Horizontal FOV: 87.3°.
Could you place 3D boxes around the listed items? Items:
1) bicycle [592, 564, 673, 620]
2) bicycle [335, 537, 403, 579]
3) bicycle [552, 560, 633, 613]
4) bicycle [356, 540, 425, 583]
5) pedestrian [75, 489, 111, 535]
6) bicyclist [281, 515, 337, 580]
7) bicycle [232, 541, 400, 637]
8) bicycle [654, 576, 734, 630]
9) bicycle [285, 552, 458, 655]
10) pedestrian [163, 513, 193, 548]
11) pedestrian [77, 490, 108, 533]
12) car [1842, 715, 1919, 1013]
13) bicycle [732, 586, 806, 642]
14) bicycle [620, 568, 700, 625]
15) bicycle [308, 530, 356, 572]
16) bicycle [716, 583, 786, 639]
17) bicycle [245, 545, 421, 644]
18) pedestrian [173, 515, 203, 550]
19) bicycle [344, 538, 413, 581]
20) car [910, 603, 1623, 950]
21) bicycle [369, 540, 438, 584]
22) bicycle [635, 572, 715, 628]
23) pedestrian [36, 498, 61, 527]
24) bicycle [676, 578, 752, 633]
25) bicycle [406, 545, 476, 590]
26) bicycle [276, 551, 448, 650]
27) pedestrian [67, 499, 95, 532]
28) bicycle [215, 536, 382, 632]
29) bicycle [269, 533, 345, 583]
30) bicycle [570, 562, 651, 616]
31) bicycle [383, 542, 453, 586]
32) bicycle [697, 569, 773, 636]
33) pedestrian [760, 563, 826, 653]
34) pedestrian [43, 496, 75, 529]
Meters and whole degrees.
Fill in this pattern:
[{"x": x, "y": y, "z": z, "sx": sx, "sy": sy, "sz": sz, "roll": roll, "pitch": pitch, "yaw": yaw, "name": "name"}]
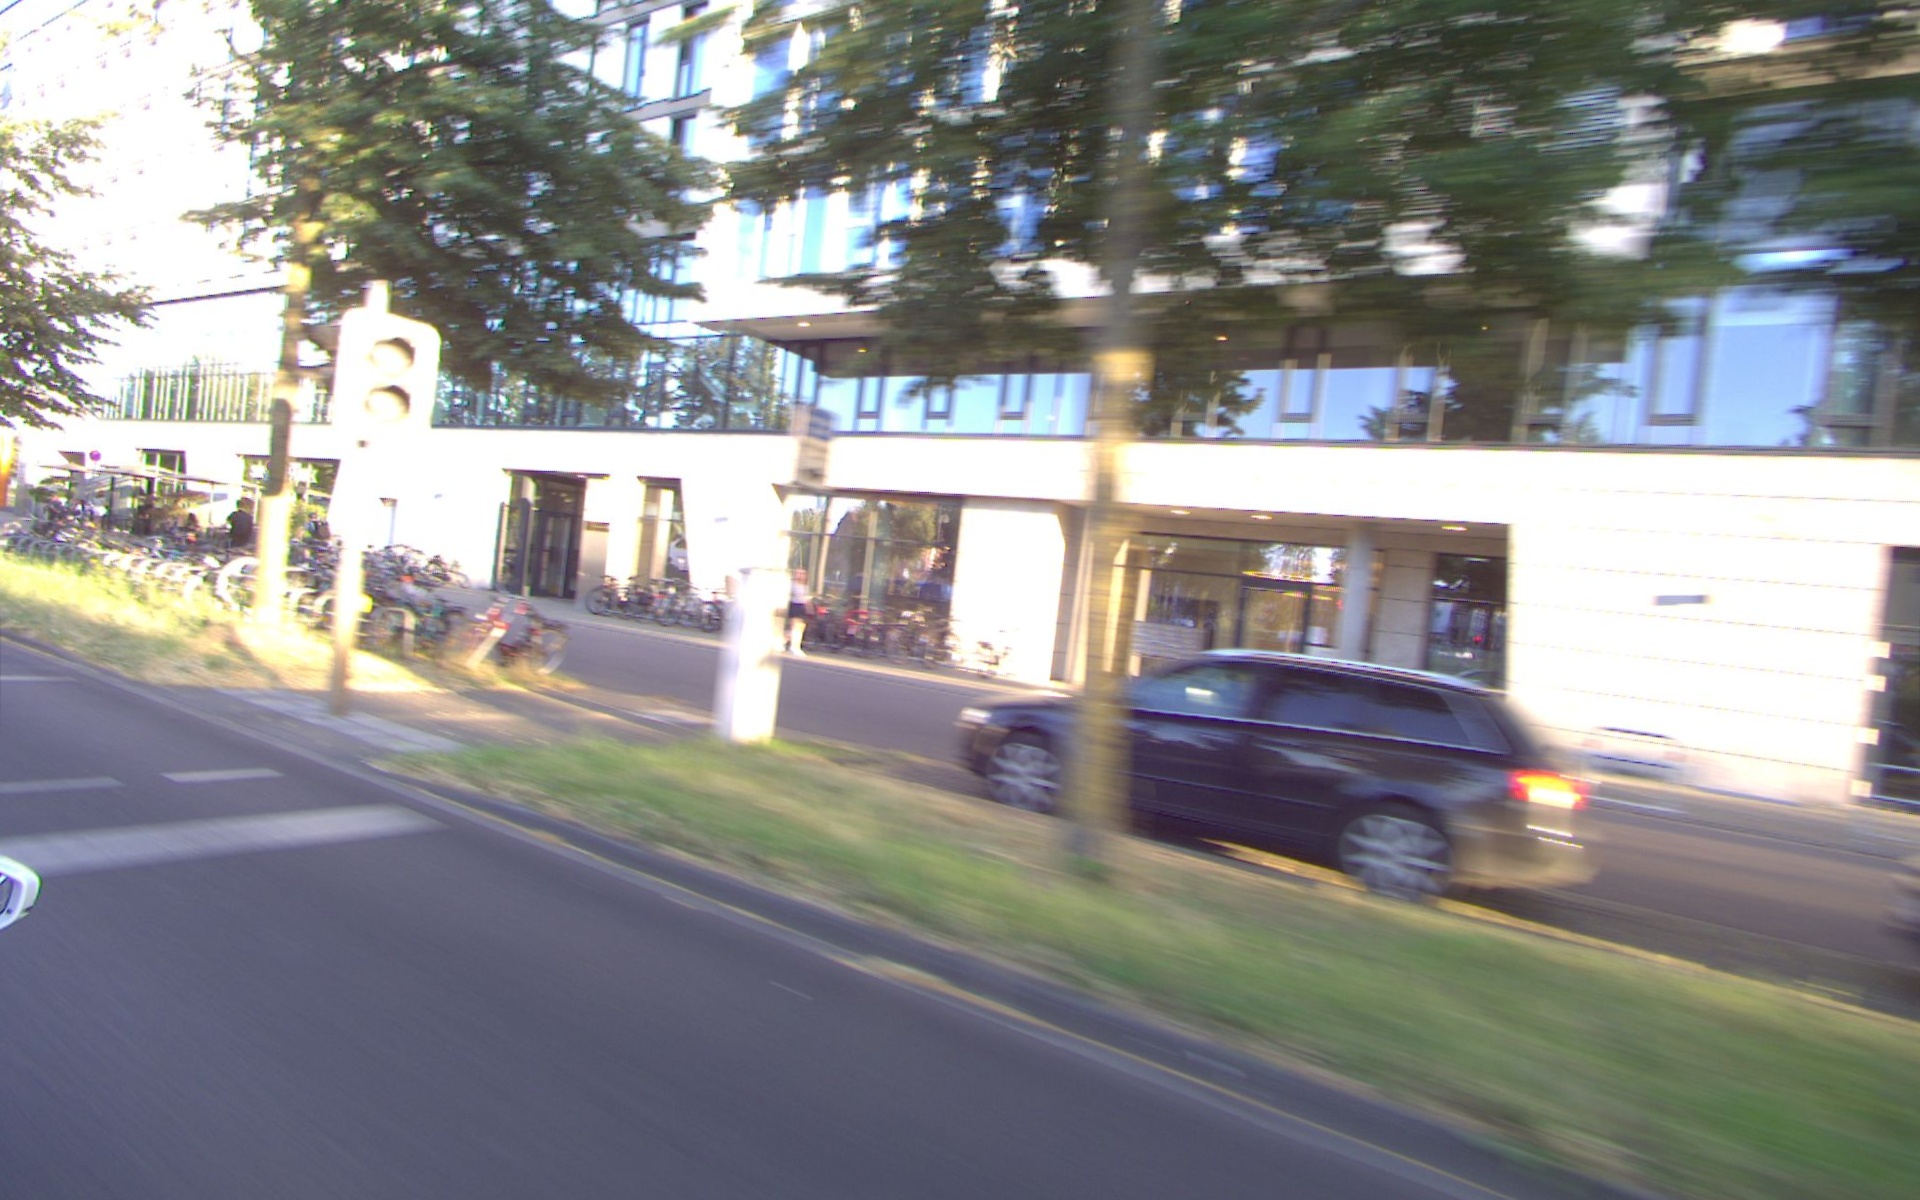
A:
[{"x": -8.011, "y": -0.169, "z": 24.668, "sx": 0.494, "sy": 1.182, "sz": 1.986, "roll": 7, "pitch": 0, "yaw": 29, "name": "bicycle"}, {"x": -18.581, "y": -1.310, "z": 31.679, "sx": 0.500, "sy": 1.118, "sz": 1.788, "roll": 7, "pitch": 0, "yaw": 27, "name": "bicycle"}, {"x": -9.193, "y": -0.318, "z": 25.252, "sx": 0.494, "sy": 1.156, "sz": 1.986, "roll": 7, "pitch": 0, "yaw": 29, "name": "bicycle"}, {"x": -17.478, "y": -1.163, "z": 30.928, "sx": 0.500, "sy": 1.118, "sz": 1.788, "roll": 7, "pitch": 0, "yaw": 27, "name": "bicycle"}, {"x": -35.621, "y": -3.608, "z": 41.329, "sx": 0.676, "sy": 1.759, "sz": 0.705, "roll": 7, "pitch": 1, "yaw": 2, "name": "pedestrian"}, {"x": -17.278, "y": -1.383, "z": 26.702, "sx": 0.975, "sy": 1.586, "sz": 0.773, "roll": 7, "pitch": 1, "yaw": 29, "name": "bicyclist"}, {"x": -8.920, "y": -0.117, "z": 14.036, "sx": 0.401, "sy": 1.065, "sz": 1.950, "roll": 7, "pitch": -3, "yaw": 24, "name": "bicycle"}, {"x": -6.226, "y": 0.088, "z": 23.678, "sx": 0.494, "sy": 1.113, "sz": 1.986, "roll": 7, "pitch": 0, "yaw": 29, "name": "bicycle"}, {"x": -7.491, "y": 0.090, "z": 12.932, "sx": 0.535, "sy": 1.065, "sz": 1.952, "roll": 8, "pitch": -3, "yaw": 17, "name": "bicycle"}, {"x": -29.502, "y": -2.618, "z": 37.954, "sx": 0.793, "sy": 1.210, "sz": 0.572, "roll": 7, "pitch": 1, "yaw": 32, "name": "pedestrian"}, {"x": -38.546, "y": -3.925, "z": 44.715, "sx": 0.686, "sy": 1.739, "sz": 0.636, "roll": 7, "pitch": 1, "yaw": 12, "name": "pedestrian"}, {"x": 7.236, "y": 1.648, "z": 4.458, "sx": 4.586, "sy": 1.490, "sz": 1.812, "roll": 7, "pitch": 0, "yaw": 30, "name": "car"}, {"x": -4.286, "y": 0.339, "z": 22.680, "sx": 0.494, "sy": 1.127, "sz": 1.834, "roll": 7, "pitch": 0, "yaw": 29, "name": "bicycle"}, {"x": -7.246, "y": -0.070, "z": 24.375, "sx": 0.494, "sy": 1.197, "sz": 1.986, "roll": 7, "pitch": 0, "yaw": 29, "name": "bicycle"}, {"x": -21.416, "y": -1.675, "z": 34.281, "sx": 2.227, "sy": 1.223, "sz": 0.469, "roll": 7, "pitch": 1, "yaw": 36, "name": "bicycle"}, {"x": -4.728, "y": 0.262, "z": 22.866, "sx": 0.366, "sy": 1.138, "sz": 1.834, "roll": 7, "pitch": 0, "yaw": 29, "name": "bicycle"}, {"x": -8.500, "y": -0.041, "z": 13.747, "sx": 0.535, "sy": 1.065, "sz": 1.950, "roll": 7, "pitch": -3, "yaw": 24, "name": "bicycle"}, {"x": -28.739, "y": -2.517, "z": 37.437, "sx": 0.793, "sy": 1.210, "sz": 0.572, "roll": 7, "pitch": 1, "yaw": 34, "name": "pedestrian"}, {"x": -18.126, "y": -1.249, "z": 31.383, "sx": 0.500, "sy": 1.118, "sz": 1.788, "roll": 7, "pitch": 0, "yaw": 27, "name": "bicycle"}, {"x": 2.080, "y": 1.022, "z": 7.467, "sx": 4.570, "sy": 1.429, "sz": 1.870, "roll": 7, "pitch": 0, "yaw": 33, "name": "car"}, {"x": -16.909, "y": -1.134, "z": 30.592, "sx": 0.500, "sy": 1.118, "sz": 1.788, "roll": 7, "pitch": 0, "yaw": 27, "name": "bicycle"}, {"x": -6.781, "y": 0.017, "z": 24.029, "sx": 0.494, "sy": 1.155, "sz": 1.986, "roll": 7, "pitch": 0, "yaw": 29, "name": "bicycle"}, {"x": -41.257, "y": -3.942, "z": 45.521, "sx": 0.847, "sy": 1.201, "sz": 0.572, "roll": 7, "pitch": 1, "yaw": 33, "name": "pedestrian"}, {"x": -5.671, "y": 0.152, "z": 23.299, "sx": 0.494, "sy": 1.135, "sz": 1.834, "roll": 7, "pitch": 0, "yaw": 29, "name": "bicycle"}, {"x": -15.227, "y": -0.931, "z": 29.570, "sx": 0.500, "sy": 1.118, "sz": 1.788, "roll": 7, "pitch": 0, "yaw": 27, "name": "bicycle"}, {"x": -7.940, "y": 0.046, "z": 13.475, "sx": 0.535, "sy": 1.065, "sz": 1.951, "roll": 8, "pitch": -3, "yaw": 21, "name": "bicycle"}, {"x": -38.196, "y": -3.672, "z": 43.715, "sx": 0.726, "sy": 1.299, "sz": 0.580, "roll": 7, "pitch": 1, "yaw": 28, "name": "pedestrian"}, {"x": -9.300, "y": -0.190, "z": 14.245, "sx": 0.401, "sy": 1.065, "sz": 1.950, "roll": 7, "pitch": -3, "yaw": 24, "name": "bicycle"}, {"x": -17.365, "y": -1.110, "z": 26.750, "sx": 2.028, "sy": 1.093, "sz": 0.773, "roll": 7, "pitch": 1, "yaw": 30, "name": "bicycle"}, {"x": -8.645, "y": -0.242, "z": 24.999, "sx": 0.494, "sy": 1.156, "sz": 1.986, "roll": 7, "pitch": 0, "yaw": 29, "name": "bicycle"}, {"x": -16.336, "y": -1.077, "z": 30.367, "sx": 0.500, "sy": 1.118, "sz": 1.788, "roll": 7, "pitch": 0, "yaw": 27, "name": "bicycle"}, {"x": -5.142, "y": 0.082, "z": 23.103, "sx": 0.494, "sy": 1.374, "sz": 1.834, "roll": 7, "pitch": 0, "yaw": 29, "name": "bicycle"}, {"x": -3.319, "y": 0.157, "z": 19.971, "sx": 0.937, "sy": 1.669, "sz": 0.643, "roll": 7, "pitch": 1, "yaw": 31, "name": "pedestrian"}, {"x": -38.827, "y": -3.774, "z": 43.339, "sx": 0.703, "sy": 1.299, "sz": 0.627, "roll": 7, "pitch": 1, "yaw": 10, "name": "pedestrian"}]
